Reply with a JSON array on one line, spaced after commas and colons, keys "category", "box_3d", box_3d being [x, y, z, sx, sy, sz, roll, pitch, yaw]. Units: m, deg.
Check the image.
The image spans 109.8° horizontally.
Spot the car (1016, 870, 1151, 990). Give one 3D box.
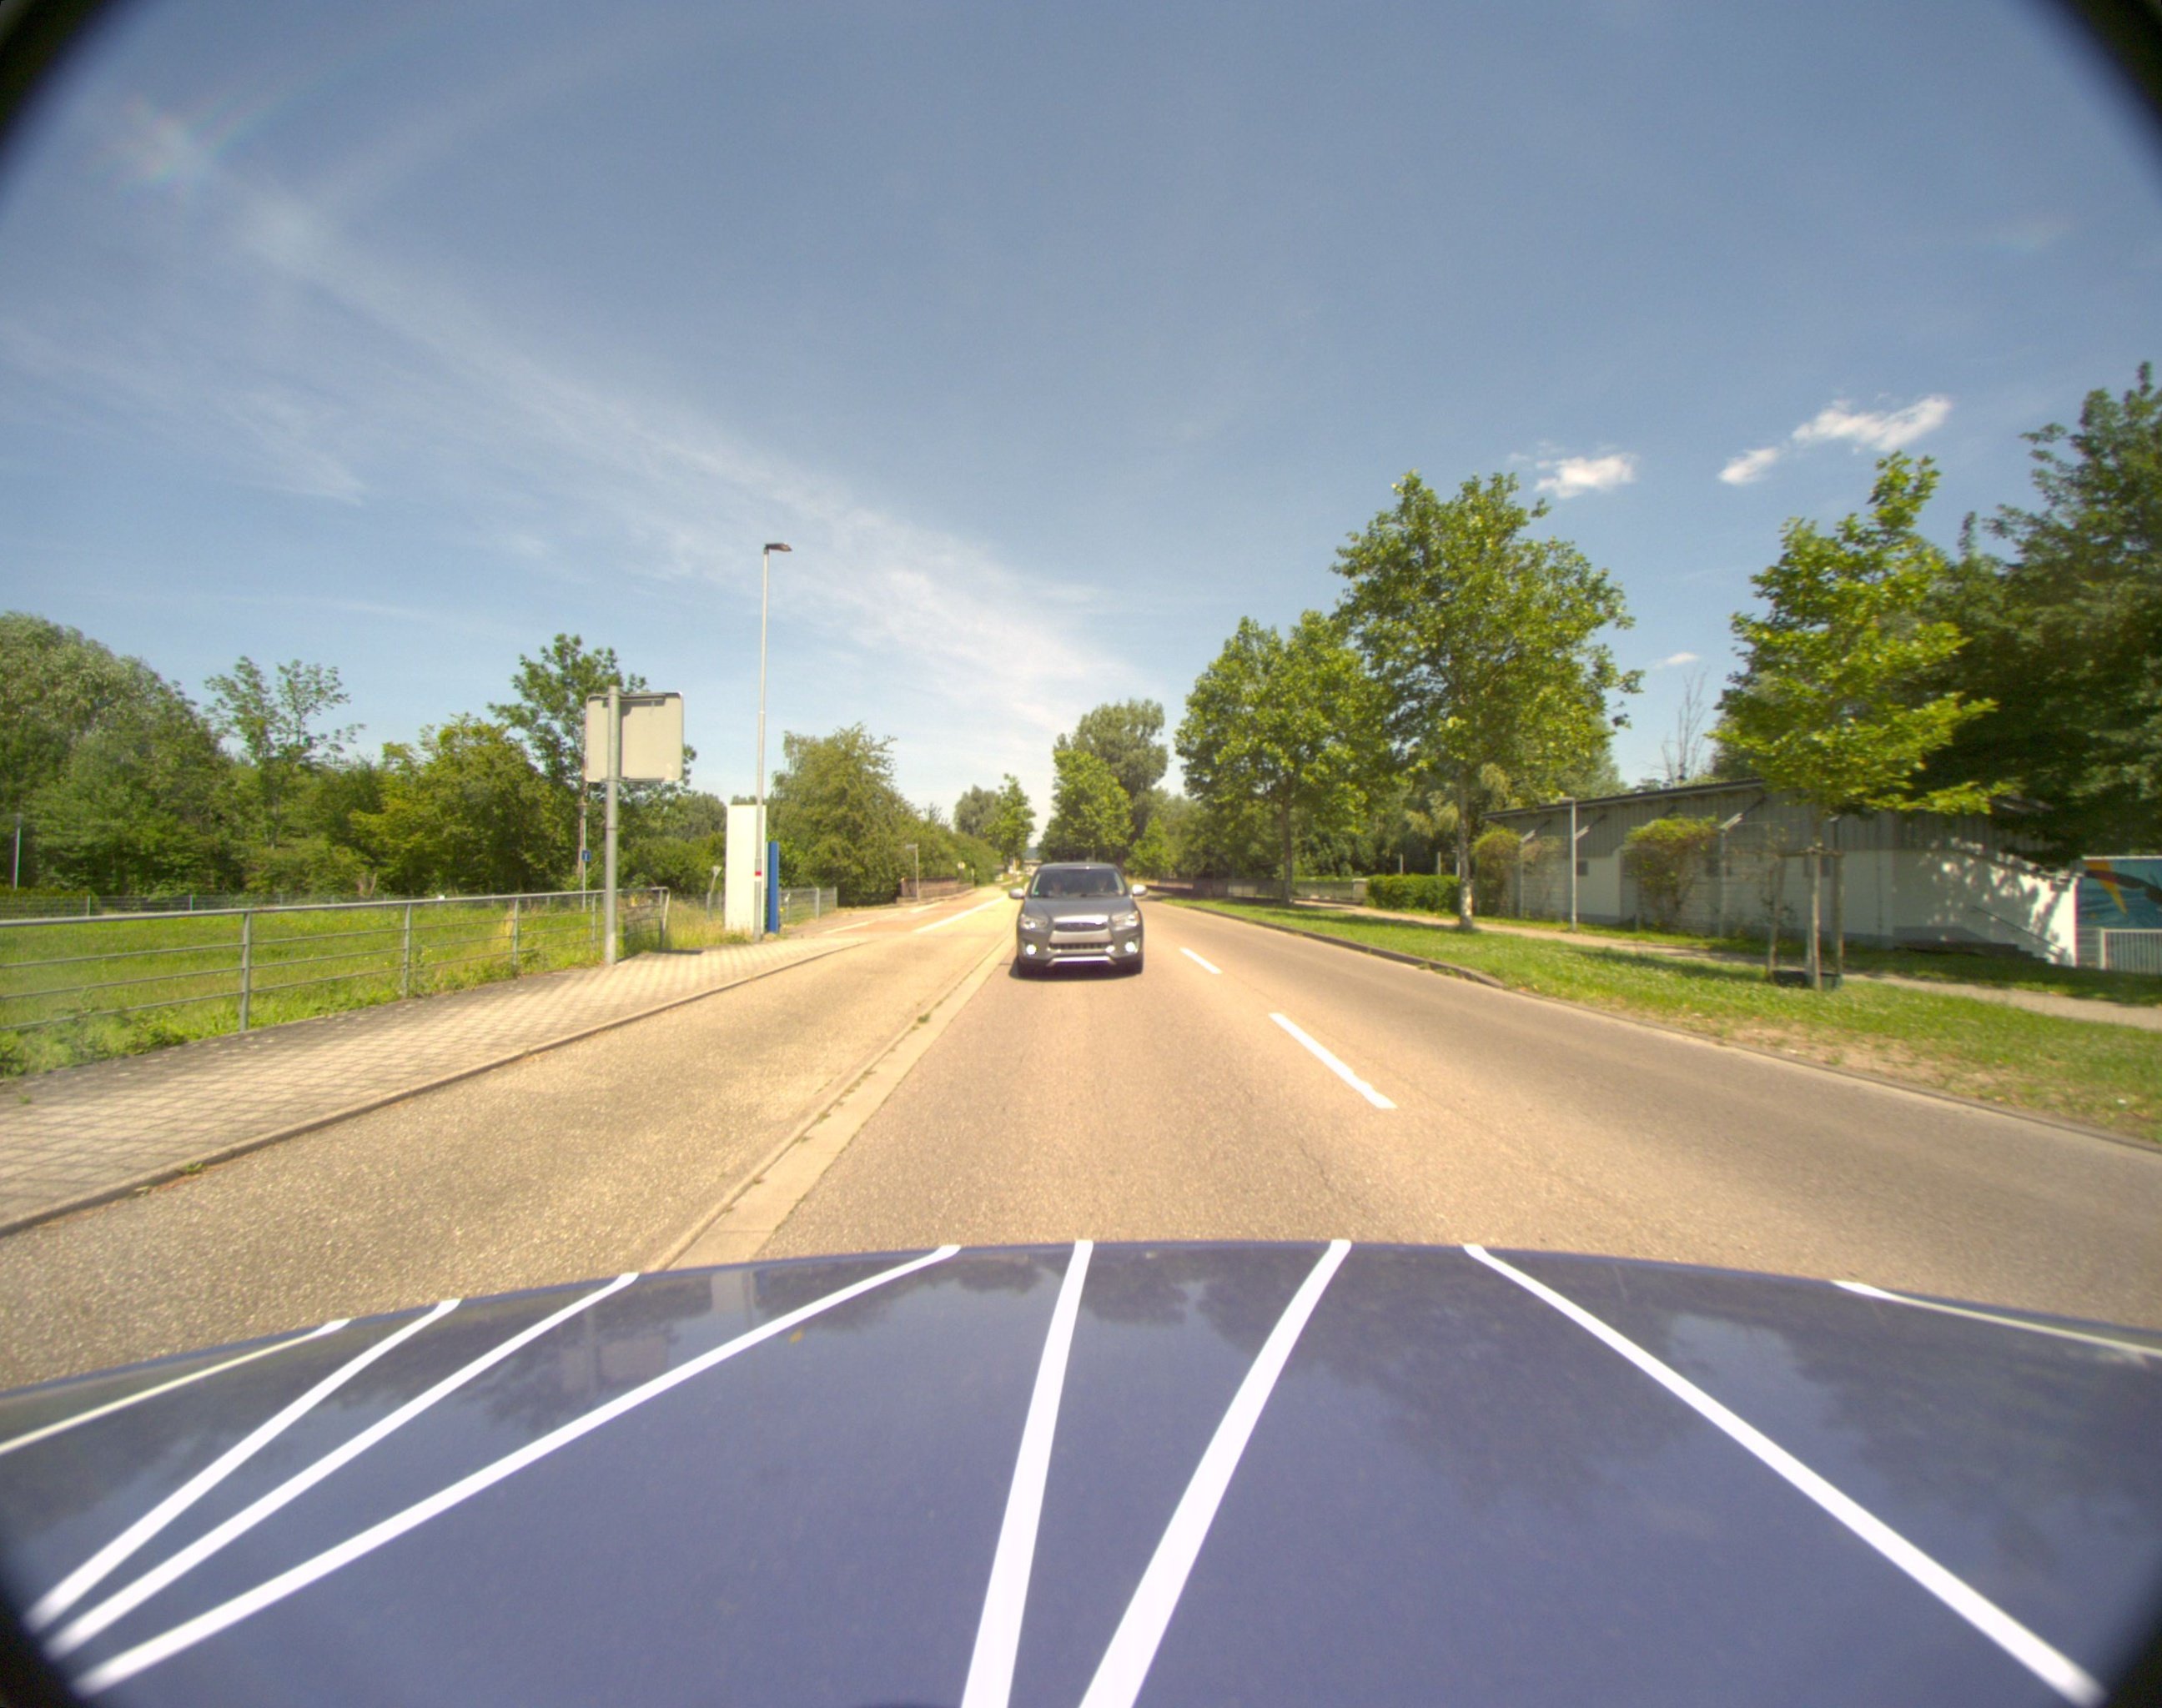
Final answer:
[{"category": "car", "box_3d": [-0.115, 1.035, 12.117, 1.750, 1.524, 4.523, 0, -1, -4]}]

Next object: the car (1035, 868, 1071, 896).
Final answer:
[{"category": "car", "box_3d": [-1.520, 1.422, 39.996, 1.677, 1.342, 3.829, -1, -1, -6]}]
